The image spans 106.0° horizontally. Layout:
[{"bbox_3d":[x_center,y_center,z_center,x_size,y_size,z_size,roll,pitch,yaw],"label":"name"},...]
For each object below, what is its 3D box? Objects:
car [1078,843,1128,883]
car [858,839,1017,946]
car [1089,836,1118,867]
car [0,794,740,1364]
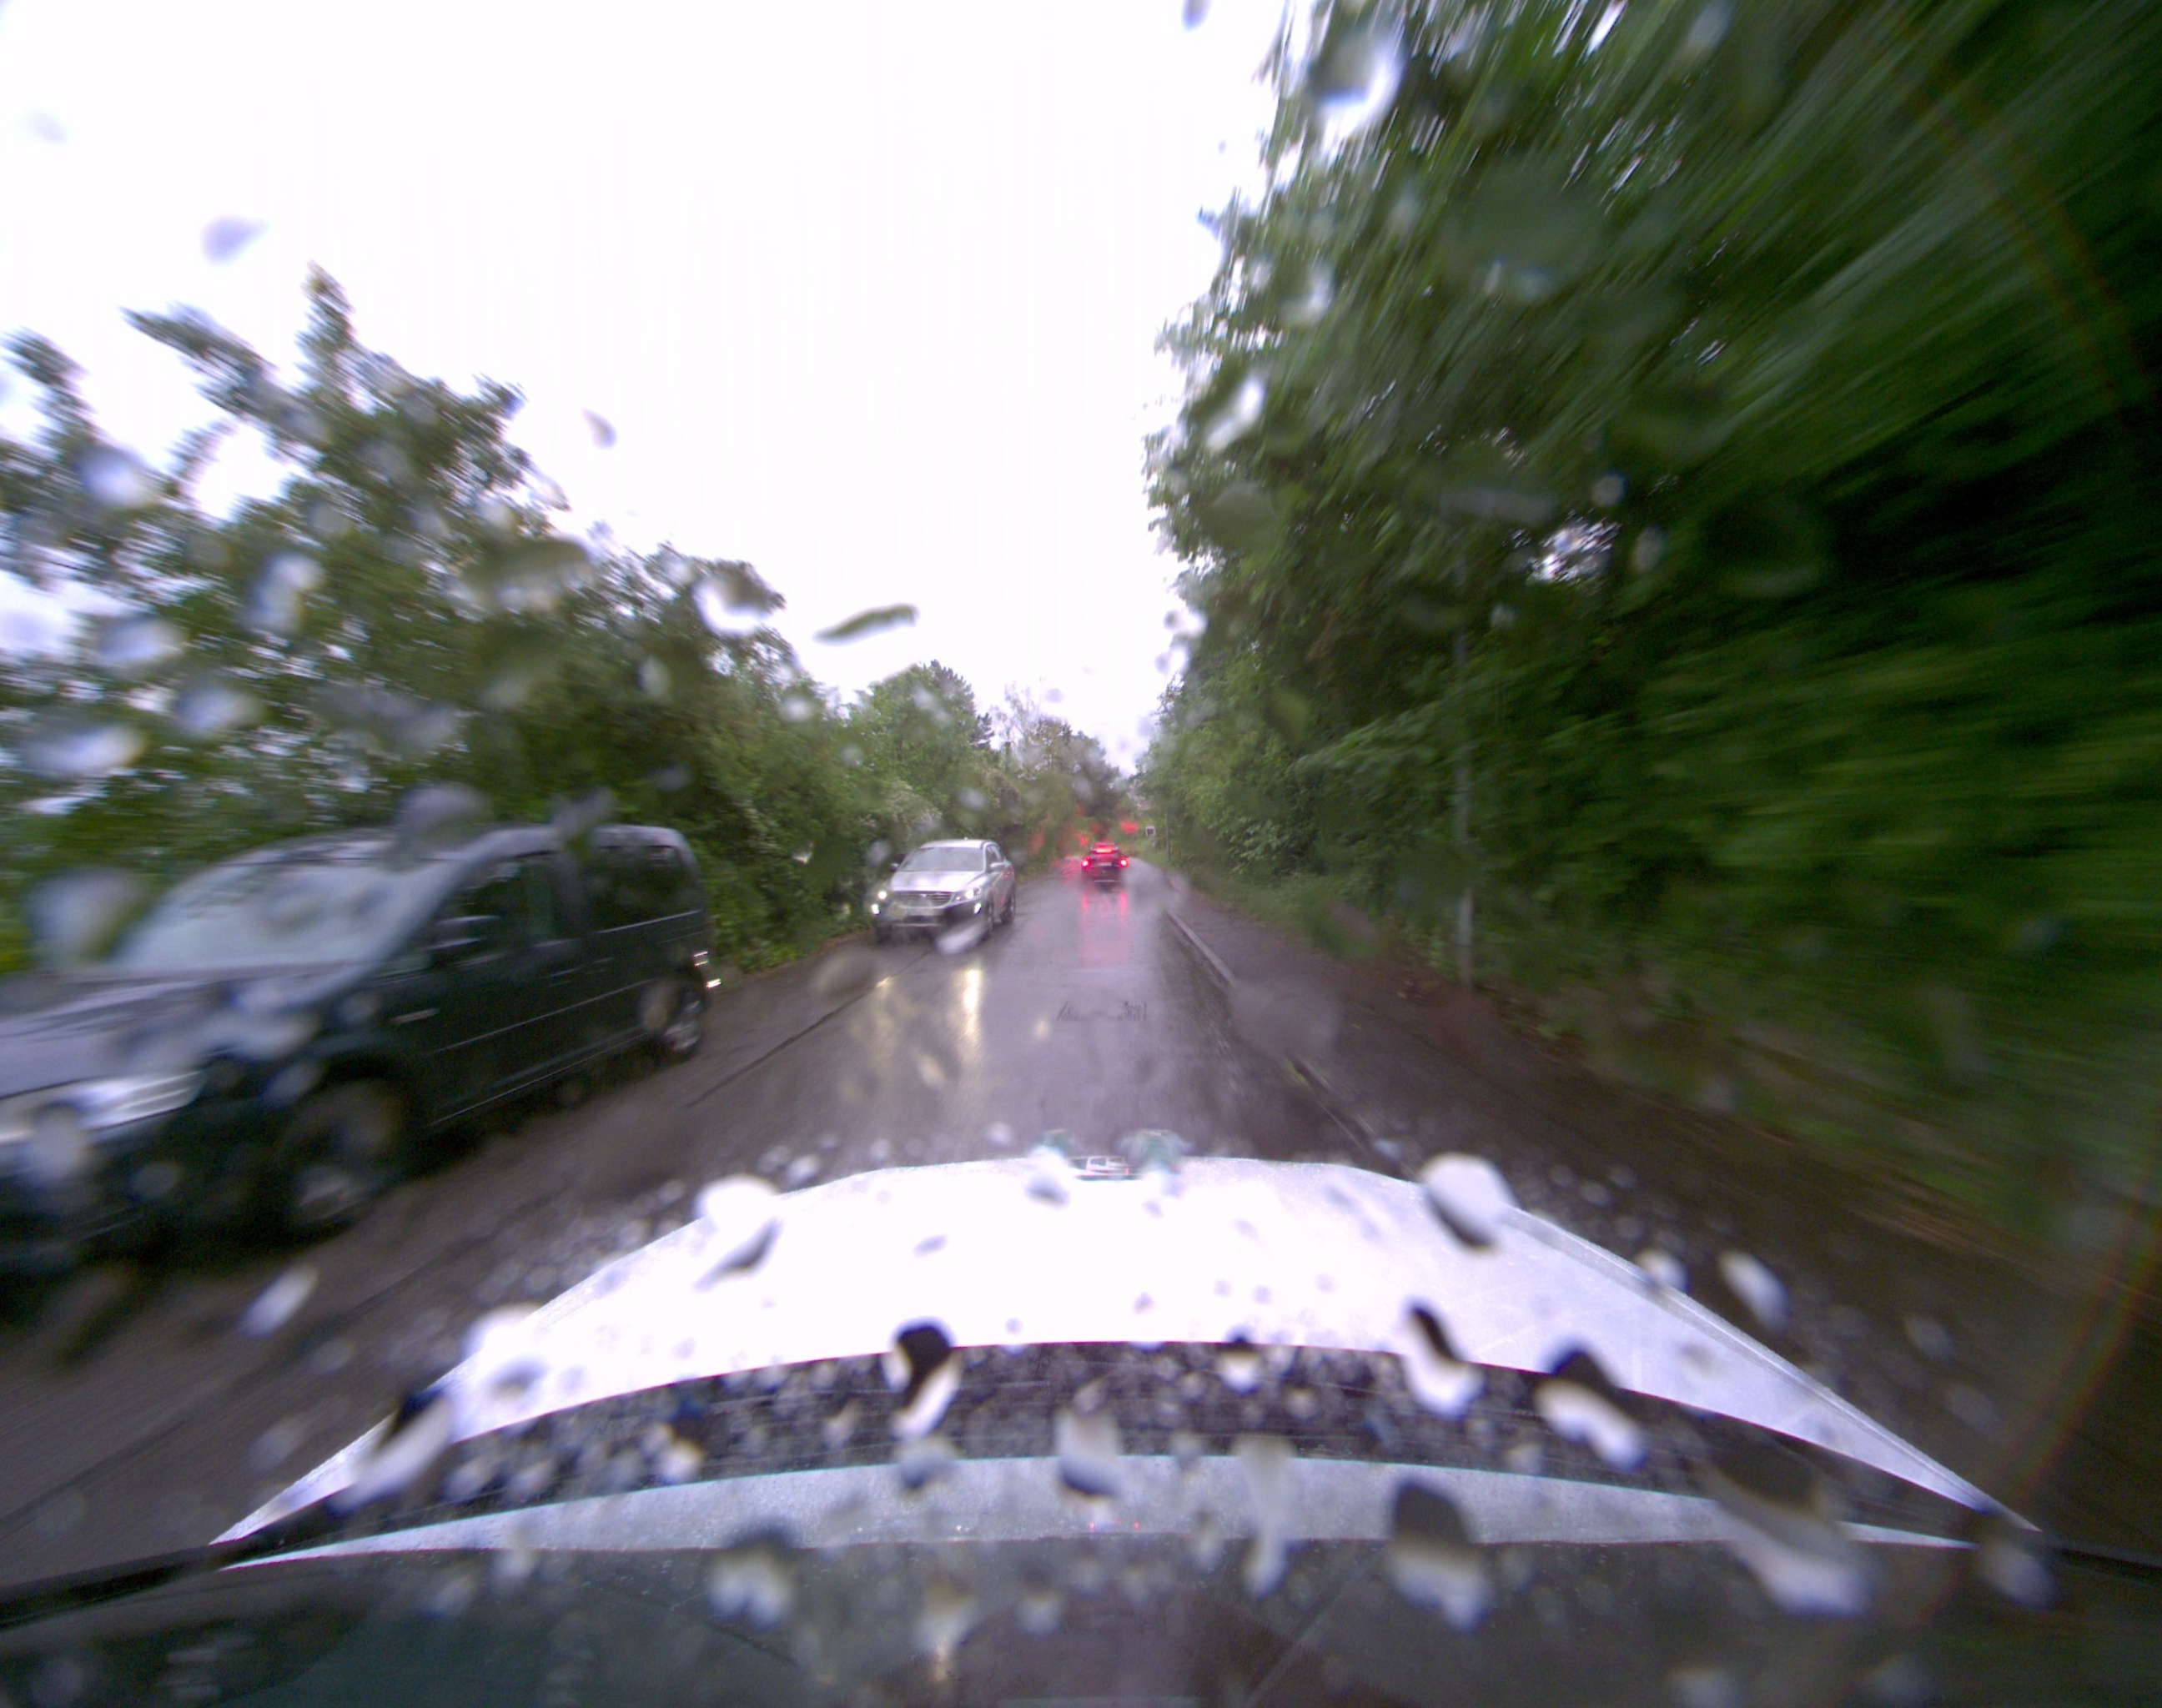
[{"bbox_3d":[0.808,0.315,32.022,1.695,1.450,3.998,-2,0,-2],"label":"car"},{"bbox_3d":[-2.385,0.555,14.698,2.041,1.601,4.230,0,2,1],"label":"car"},{"bbox_3d":[1.506,-0.139,54.403,1.856,1.744,3.999,-1,-4,1],"label":"car"},{"bbox_3d":[-3.808,0.698,4.685,1.683,1.782,4.235,-2,1,2],"label":"car"}]
